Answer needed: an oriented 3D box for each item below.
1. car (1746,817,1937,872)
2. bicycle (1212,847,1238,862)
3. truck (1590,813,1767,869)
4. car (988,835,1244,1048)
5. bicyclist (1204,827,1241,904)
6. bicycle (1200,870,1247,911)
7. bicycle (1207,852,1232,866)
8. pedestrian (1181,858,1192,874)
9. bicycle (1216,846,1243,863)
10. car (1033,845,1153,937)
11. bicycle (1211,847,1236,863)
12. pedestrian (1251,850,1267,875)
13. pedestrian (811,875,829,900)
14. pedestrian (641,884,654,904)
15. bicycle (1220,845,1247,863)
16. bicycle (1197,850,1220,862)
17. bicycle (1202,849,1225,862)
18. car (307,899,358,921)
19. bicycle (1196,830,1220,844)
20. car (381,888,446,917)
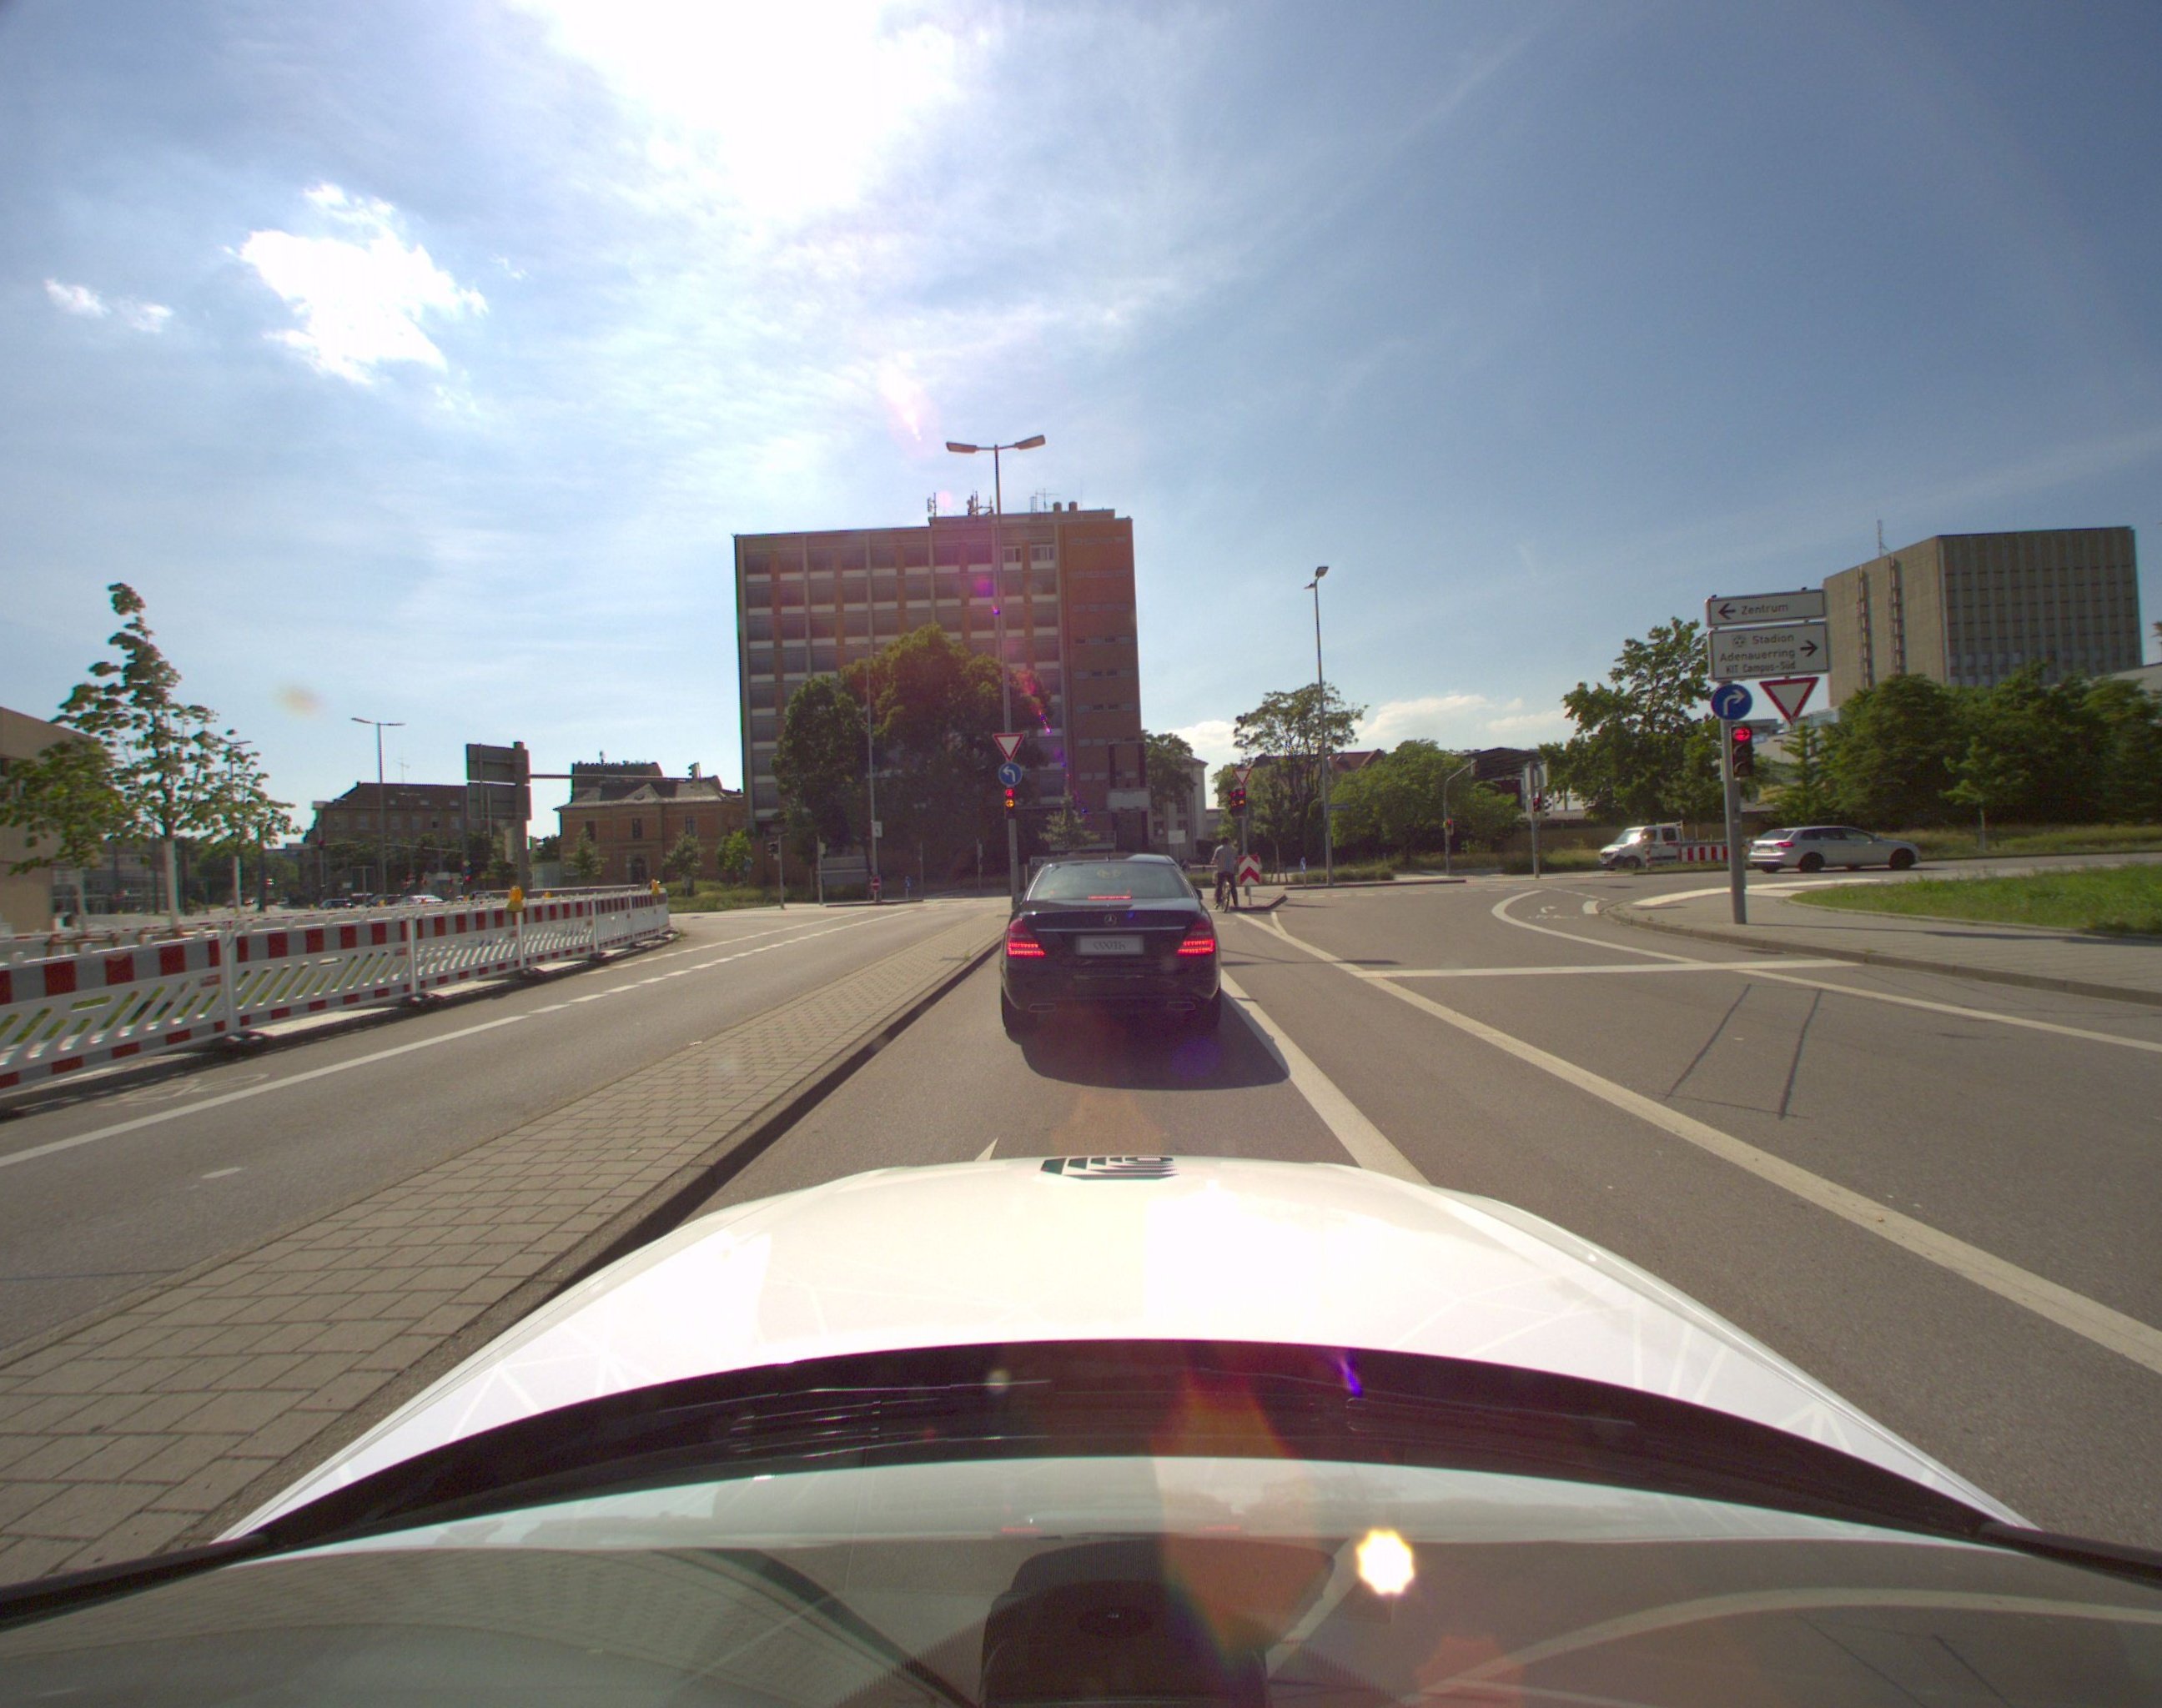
[{"bbox_3d":[23.100,-0.275,24.852,4.140,1.420,1.586,-3,0,4],"label":"car"},{"bbox_3d":[16.819,0.083,95.053,2.813,1.649,0.842,-3,0,1],"label":"bicycle"},{"bbox_3d":[29.969,-0.638,41.058,6.997,2.355,2.415,-3,0,2],"label":"truck"},{"bbox_3d":[0.285,0.658,8.320,1.852,1.530,4.714,-1,-1,1],"label":"car"},{"bbox_3d":[3.580,0.290,20.644,0.684,1.878,0.858,-1,-1,-5],"label":"bicyclist"},{"bbox_3d":[3.589,0.901,20.668,0.691,0.946,1.955,0,-1,-4],"label":"bicycle"},{"bbox_3d":[16.714,0.596,98.193,2.813,1.537,0.842,-3,0,1],"label":"bicycle"},{"bbox_3d":[8.243,0.928,63.745,0.788,1.214,0.759,-1,-1,8],"label":"pedestrian"},{"bbox_3d":[17.040,0.070,93.569,2.813,1.744,0.842,-3,0,1],"label":"bicycle"},{"bbox_3d":[0.259,0.625,15.485,1.986,1.508,4.001,0,-1,2],"label":"car"},{"bbox_3d":[16.801,0.085,96.121,2.813,1.659,0.842,-3,1,1],"label":"bicycle"},{"bbox_3d":[11.380,0.554,52.052,0.807,1.579,0.693,-3,-1,3],"label":"pedestrian"},{"bbox_3d":[-18.933,2.423,59.097,0.790,1.725,0.878,-3,-1,24],"label":"pedestrian"},{"bbox_3d":[-36.162,3.308,67.920,0.642,1.661,0.654,-1,-1,28],"label":"pedestrian"},{"bbox_3d":[17.103,0.045,91.307,2.813,1.836,0.842,-3,0,1],"label":"bicycle"},{"bbox_3d":[16.620,0.251,105.910,2.812,1.480,0.842,-3,0,2],"label":"bicycle"},{"bbox_3d":[16.965,0.237,104.340,2.813,1.500,0.842,-3,0,1],"label":"bicycle"},{"bbox_3d":[-55.554,4.164,60.437,3.948,1.510,1.811,-3,-1,32],"label":"car"},{"bbox_3d":[15.981,-2.111,102.229,2.813,1.559,0.842,-3,0,1],"label":"bicycle"},{"bbox_3d":[-48.057,3.498,58.605,3.951,1.816,2.011,-3,-1,24],"label":"car"}]
